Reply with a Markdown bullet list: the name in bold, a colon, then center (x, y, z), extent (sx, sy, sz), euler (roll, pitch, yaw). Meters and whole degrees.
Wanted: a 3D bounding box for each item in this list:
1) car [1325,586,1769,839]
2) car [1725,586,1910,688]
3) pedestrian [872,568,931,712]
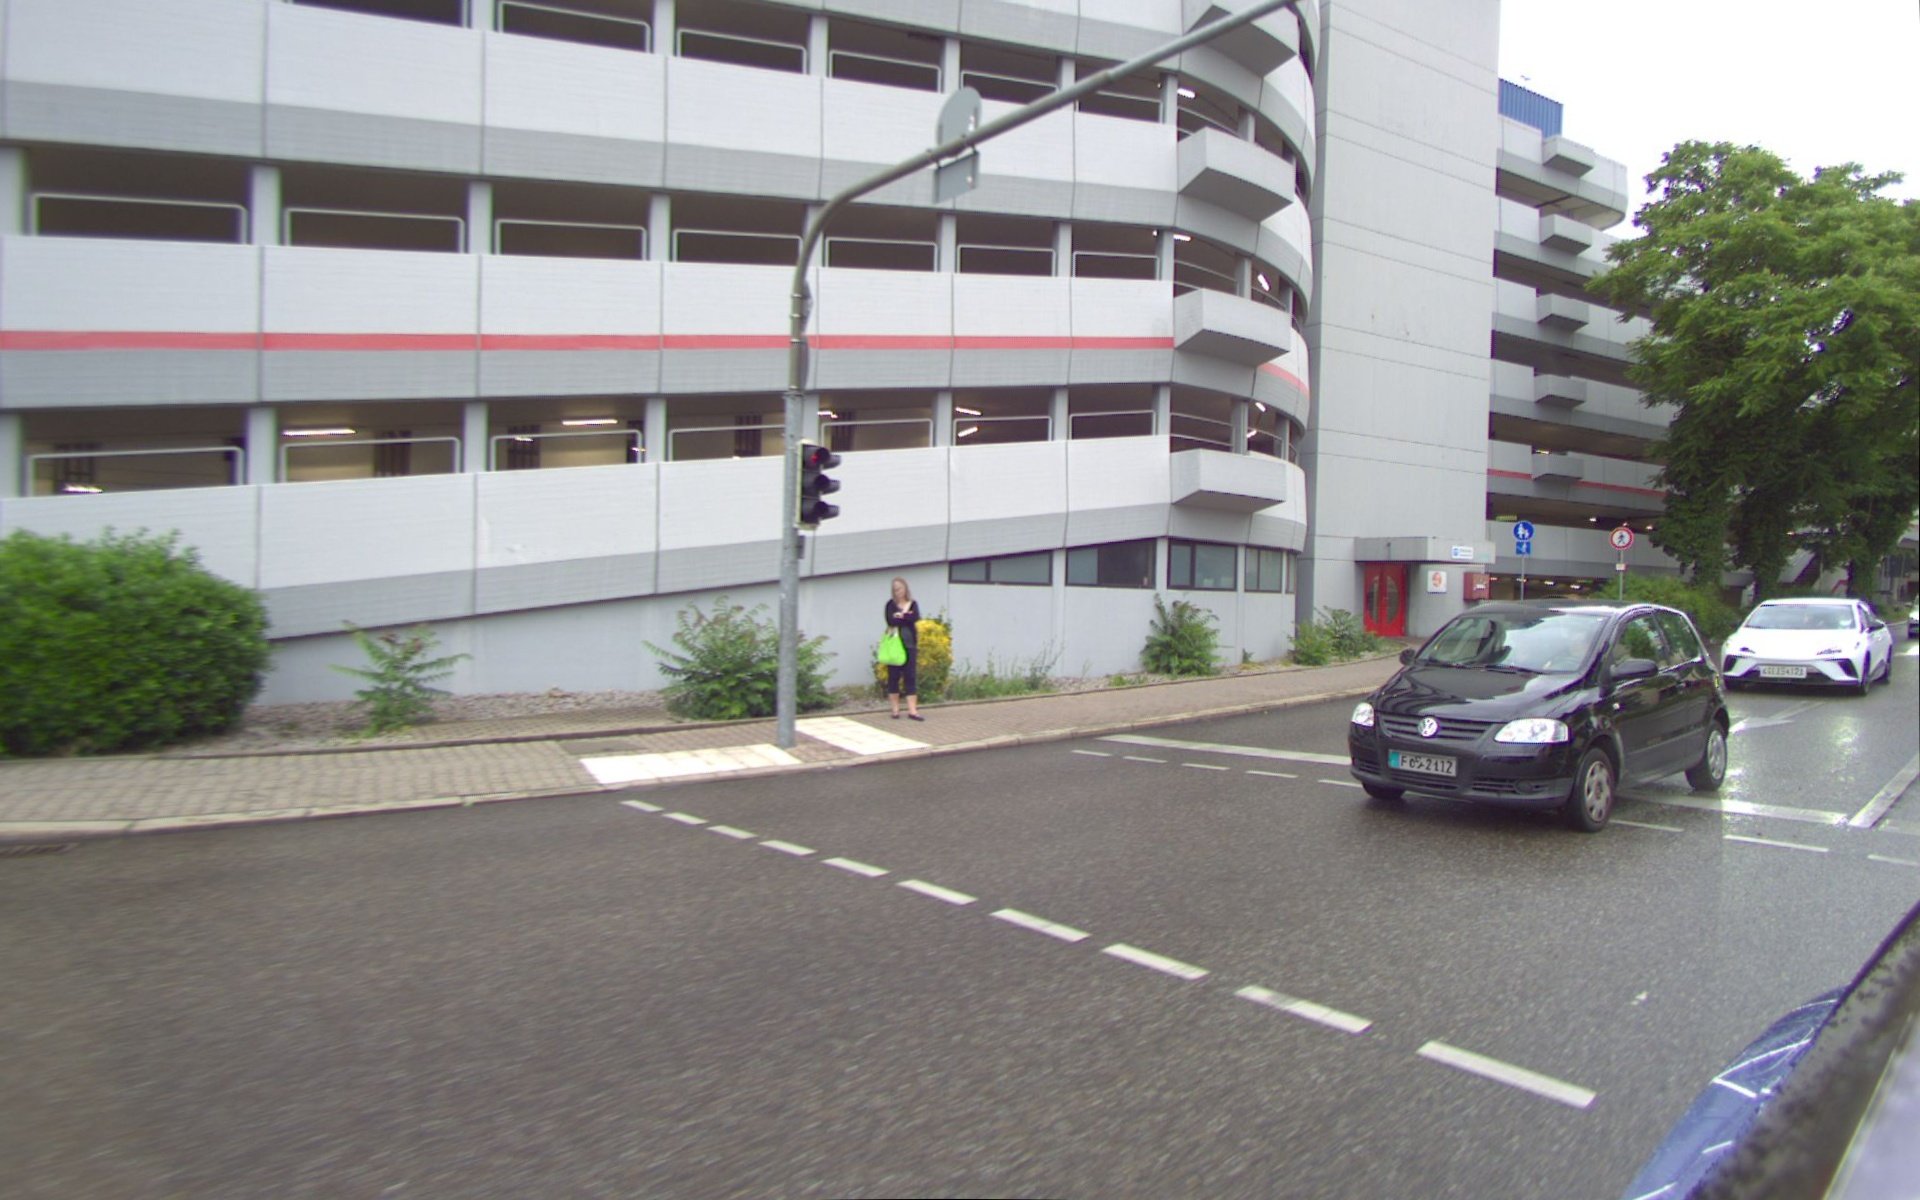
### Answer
- **car**: center (4.639, 0.676, 7.839), extent (3.675, 1.512, 1.677), euler (0, -1, -37)
- **car**: center (14.386, 0.544, 16.907), extent (4.136, 1.496, 1.803), euler (0, -1, -42)
- **pedestrian**: center (-0.721, 0.469, 12.398), extent (0.508, 1.679, 0.586), euler (0, 4, -25)
